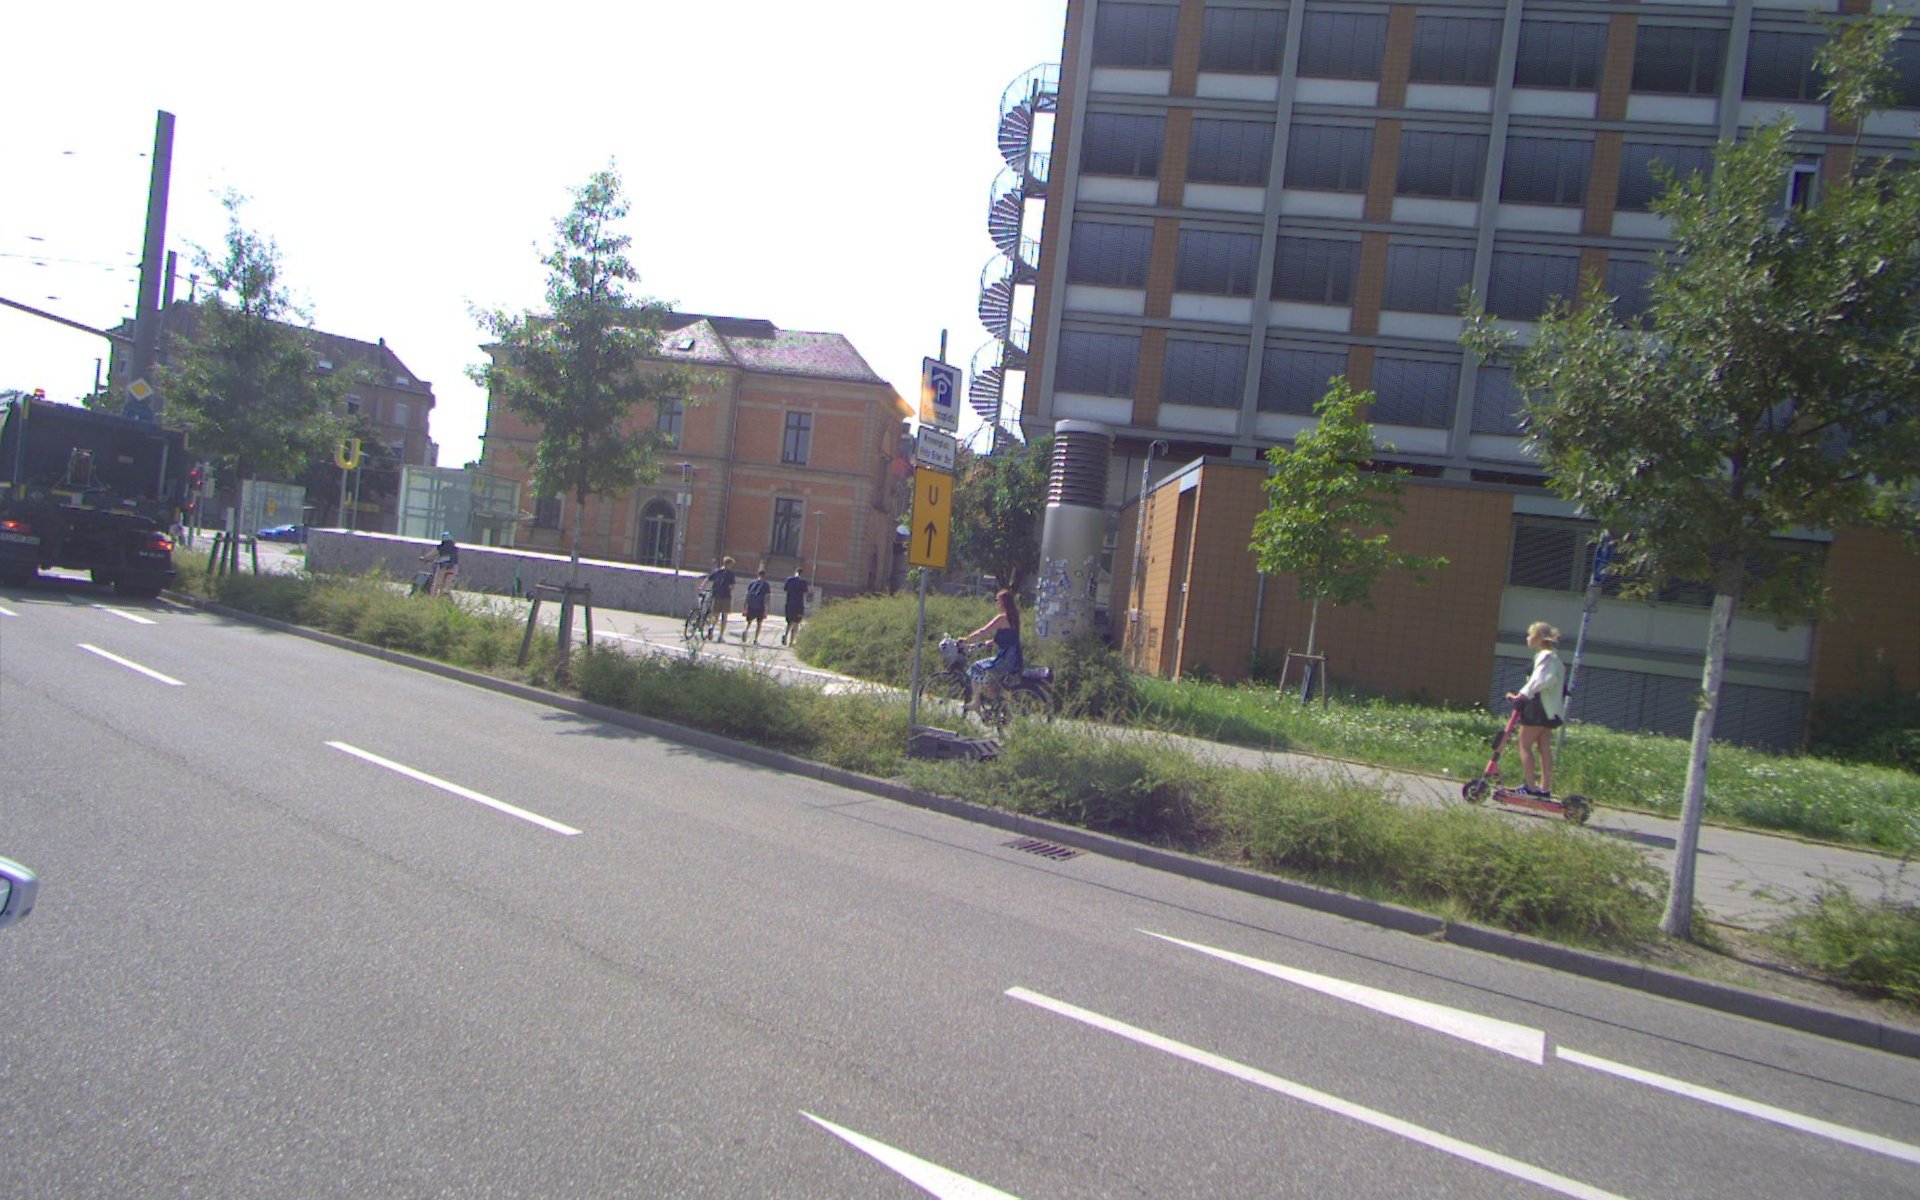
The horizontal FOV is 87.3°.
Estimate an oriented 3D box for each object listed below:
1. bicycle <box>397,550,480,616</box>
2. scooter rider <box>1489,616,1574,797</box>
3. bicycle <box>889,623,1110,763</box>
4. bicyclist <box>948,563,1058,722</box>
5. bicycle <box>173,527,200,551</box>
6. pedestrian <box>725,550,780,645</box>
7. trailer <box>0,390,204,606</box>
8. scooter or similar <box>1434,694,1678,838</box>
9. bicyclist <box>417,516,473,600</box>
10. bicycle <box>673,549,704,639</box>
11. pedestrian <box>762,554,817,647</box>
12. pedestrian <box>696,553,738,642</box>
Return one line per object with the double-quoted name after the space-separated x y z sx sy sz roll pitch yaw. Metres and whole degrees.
-10.101 -0.343 19.443 1.973 1.073 0.556 7 1 37 "bicycle"
5.757 1.043 10.166 0.529 1.723 0.671 6 3 25 "scooter rider"
0.395 0.967 11.104 2.333 1.170 0.693 7 3 34 "bicycle"
0.477 0.449 11.050 0.830 1.621 0.690 7 4 34 "bicyclist"
-29.276 -2.326 38.103 0.670 0.786 2.107 6 1 -35 "bicycle"
-4.638 -0.054 22.497 0.774 1.998 0.745 5 2 -38 "pedestrian"
-16.210 -1.819 18.183 6.233 3.043 2.462 7 -1 40 "trailer"
5.903 1.618 10.102 1.968 1.075 0.557 6 3 26 "scooter or similar"
-9.875 -0.805 19.296 0.791 1.515 0.548 7 1 37 "bicyclist"
-5.976 -0.153 22.120 0.450 1.884 1.358 6 1 -17 "bicycle"
-3.893 0.014 22.914 0.774 1.998 0.745 5 2 -38 "pedestrian"
-5.398 -0.069 22.326 0.652 1.883 0.789 6 1 -19 "pedestrian"
